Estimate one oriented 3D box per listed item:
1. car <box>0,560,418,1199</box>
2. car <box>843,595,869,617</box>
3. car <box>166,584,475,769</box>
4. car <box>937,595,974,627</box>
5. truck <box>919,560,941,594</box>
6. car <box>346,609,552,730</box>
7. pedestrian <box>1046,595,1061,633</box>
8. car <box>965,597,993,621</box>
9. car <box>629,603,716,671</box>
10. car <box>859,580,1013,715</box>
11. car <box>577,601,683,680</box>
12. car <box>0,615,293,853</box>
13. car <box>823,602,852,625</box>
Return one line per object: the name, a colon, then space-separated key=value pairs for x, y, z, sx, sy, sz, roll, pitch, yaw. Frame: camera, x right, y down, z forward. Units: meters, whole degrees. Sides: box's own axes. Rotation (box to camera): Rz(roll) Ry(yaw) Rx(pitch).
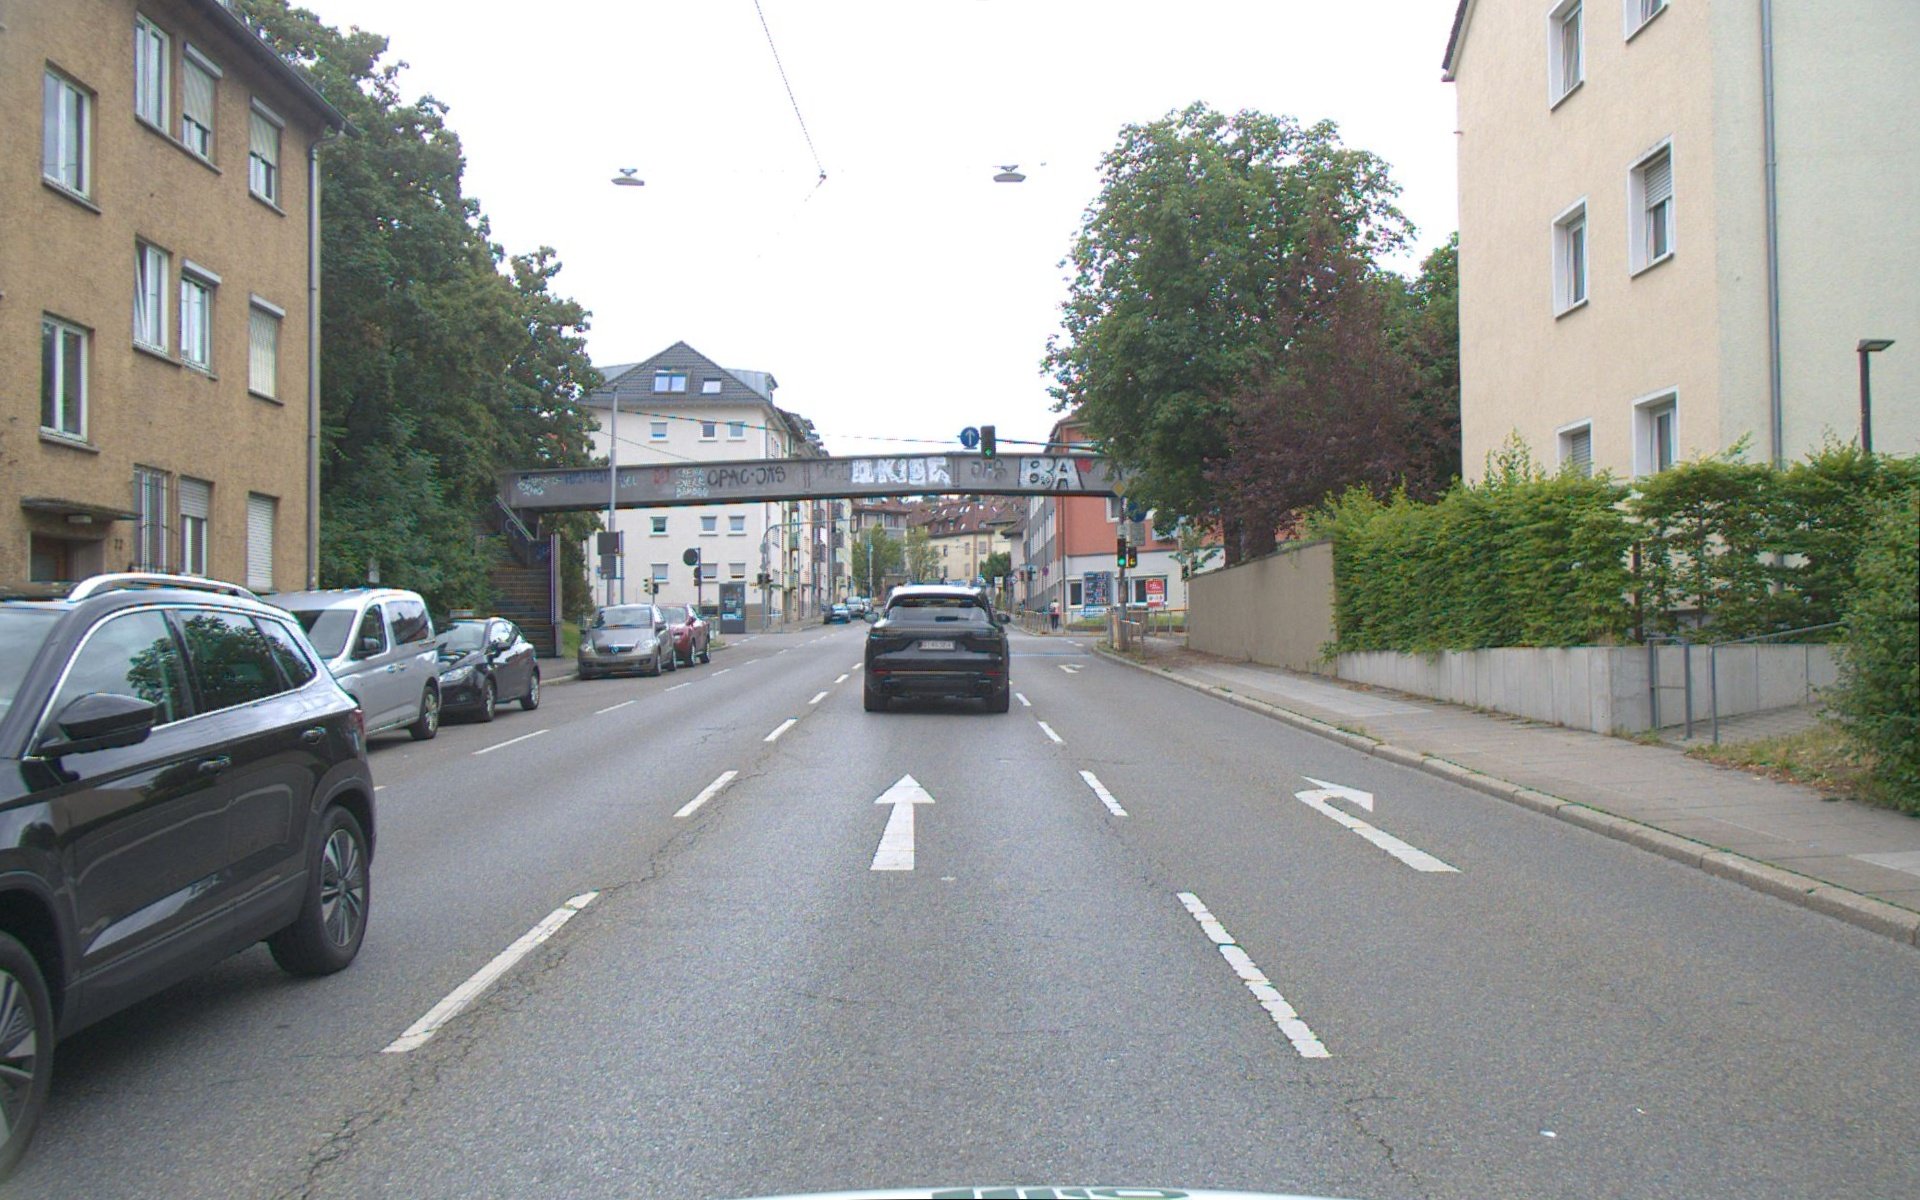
car: x=-3.357 y=0.726 z=5.415 sx=1.803 sy=1.618 sz=4.163 roll=-2 pitch=0 yaw=-1
car: x=-8.255 y=0.491 z=131.420 sx=1.729 sy=1.679 sz=4.000 roll=-1 pitch=0 yaw=0
car: x=-7.059 y=0.748 z=18.804 sx=1.740 sy=1.784 sz=4.557 roll=-2 pitch=0 yaw=-1
car: x=-0.203 y=0.517 z=78.253 sx=1.706 sy=1.424 sz=4.000 roll=0 pitch=1 yaw=0
truck: x=-3.246 y=-2.403 z=177.401 sx=2.220 sy=3.484 sz=9.876 roll=-1 pitch=0 yaw=-1
car: x=-7.151 y=0.917 z=23.552 sx=1.710 sy=1.464 sz=3.912 roll=-2 pitch=0 yaw=-1
pedestrian: x=4.465 y=0.668 z=78.925 sx=0.639 sy=1.823 sz=0.714 roll=0 pitch=0 yaw=-3
car: x=1.234 y=0.571 z=107.841 sx=1.706 sy=1.424 sz=4.000 roll=0 pitch=1 yaw=0
car: x=-7.275 y=0.891 z=42.138 sx=1.502 sy=1.567 sz=3.981 roll=-2 pitch=0 yaw=-1
car: x=-0.317 y=0.573 z=23.030 sx=1.953 sy=1.691 sz=4.000 roll=0 pitch=1 yaw=-1
car: x=-7.372 y=0.871 z=37.284 sx=1.711 sy=1.596 sz=3.906 roll=-2 pitch=0 yaw=-3
car: x=-7.037 y=0.962 z=13.407 sx=1.716 sy=1.557 sz=4.097 roll=-2 pitch=0 yaw=-3
car: x=-8.509 y=0.908 z=114.916 sx=1.729 sy=1.534 sz=4.000 roll=-1 pitch=0 yaw=0
